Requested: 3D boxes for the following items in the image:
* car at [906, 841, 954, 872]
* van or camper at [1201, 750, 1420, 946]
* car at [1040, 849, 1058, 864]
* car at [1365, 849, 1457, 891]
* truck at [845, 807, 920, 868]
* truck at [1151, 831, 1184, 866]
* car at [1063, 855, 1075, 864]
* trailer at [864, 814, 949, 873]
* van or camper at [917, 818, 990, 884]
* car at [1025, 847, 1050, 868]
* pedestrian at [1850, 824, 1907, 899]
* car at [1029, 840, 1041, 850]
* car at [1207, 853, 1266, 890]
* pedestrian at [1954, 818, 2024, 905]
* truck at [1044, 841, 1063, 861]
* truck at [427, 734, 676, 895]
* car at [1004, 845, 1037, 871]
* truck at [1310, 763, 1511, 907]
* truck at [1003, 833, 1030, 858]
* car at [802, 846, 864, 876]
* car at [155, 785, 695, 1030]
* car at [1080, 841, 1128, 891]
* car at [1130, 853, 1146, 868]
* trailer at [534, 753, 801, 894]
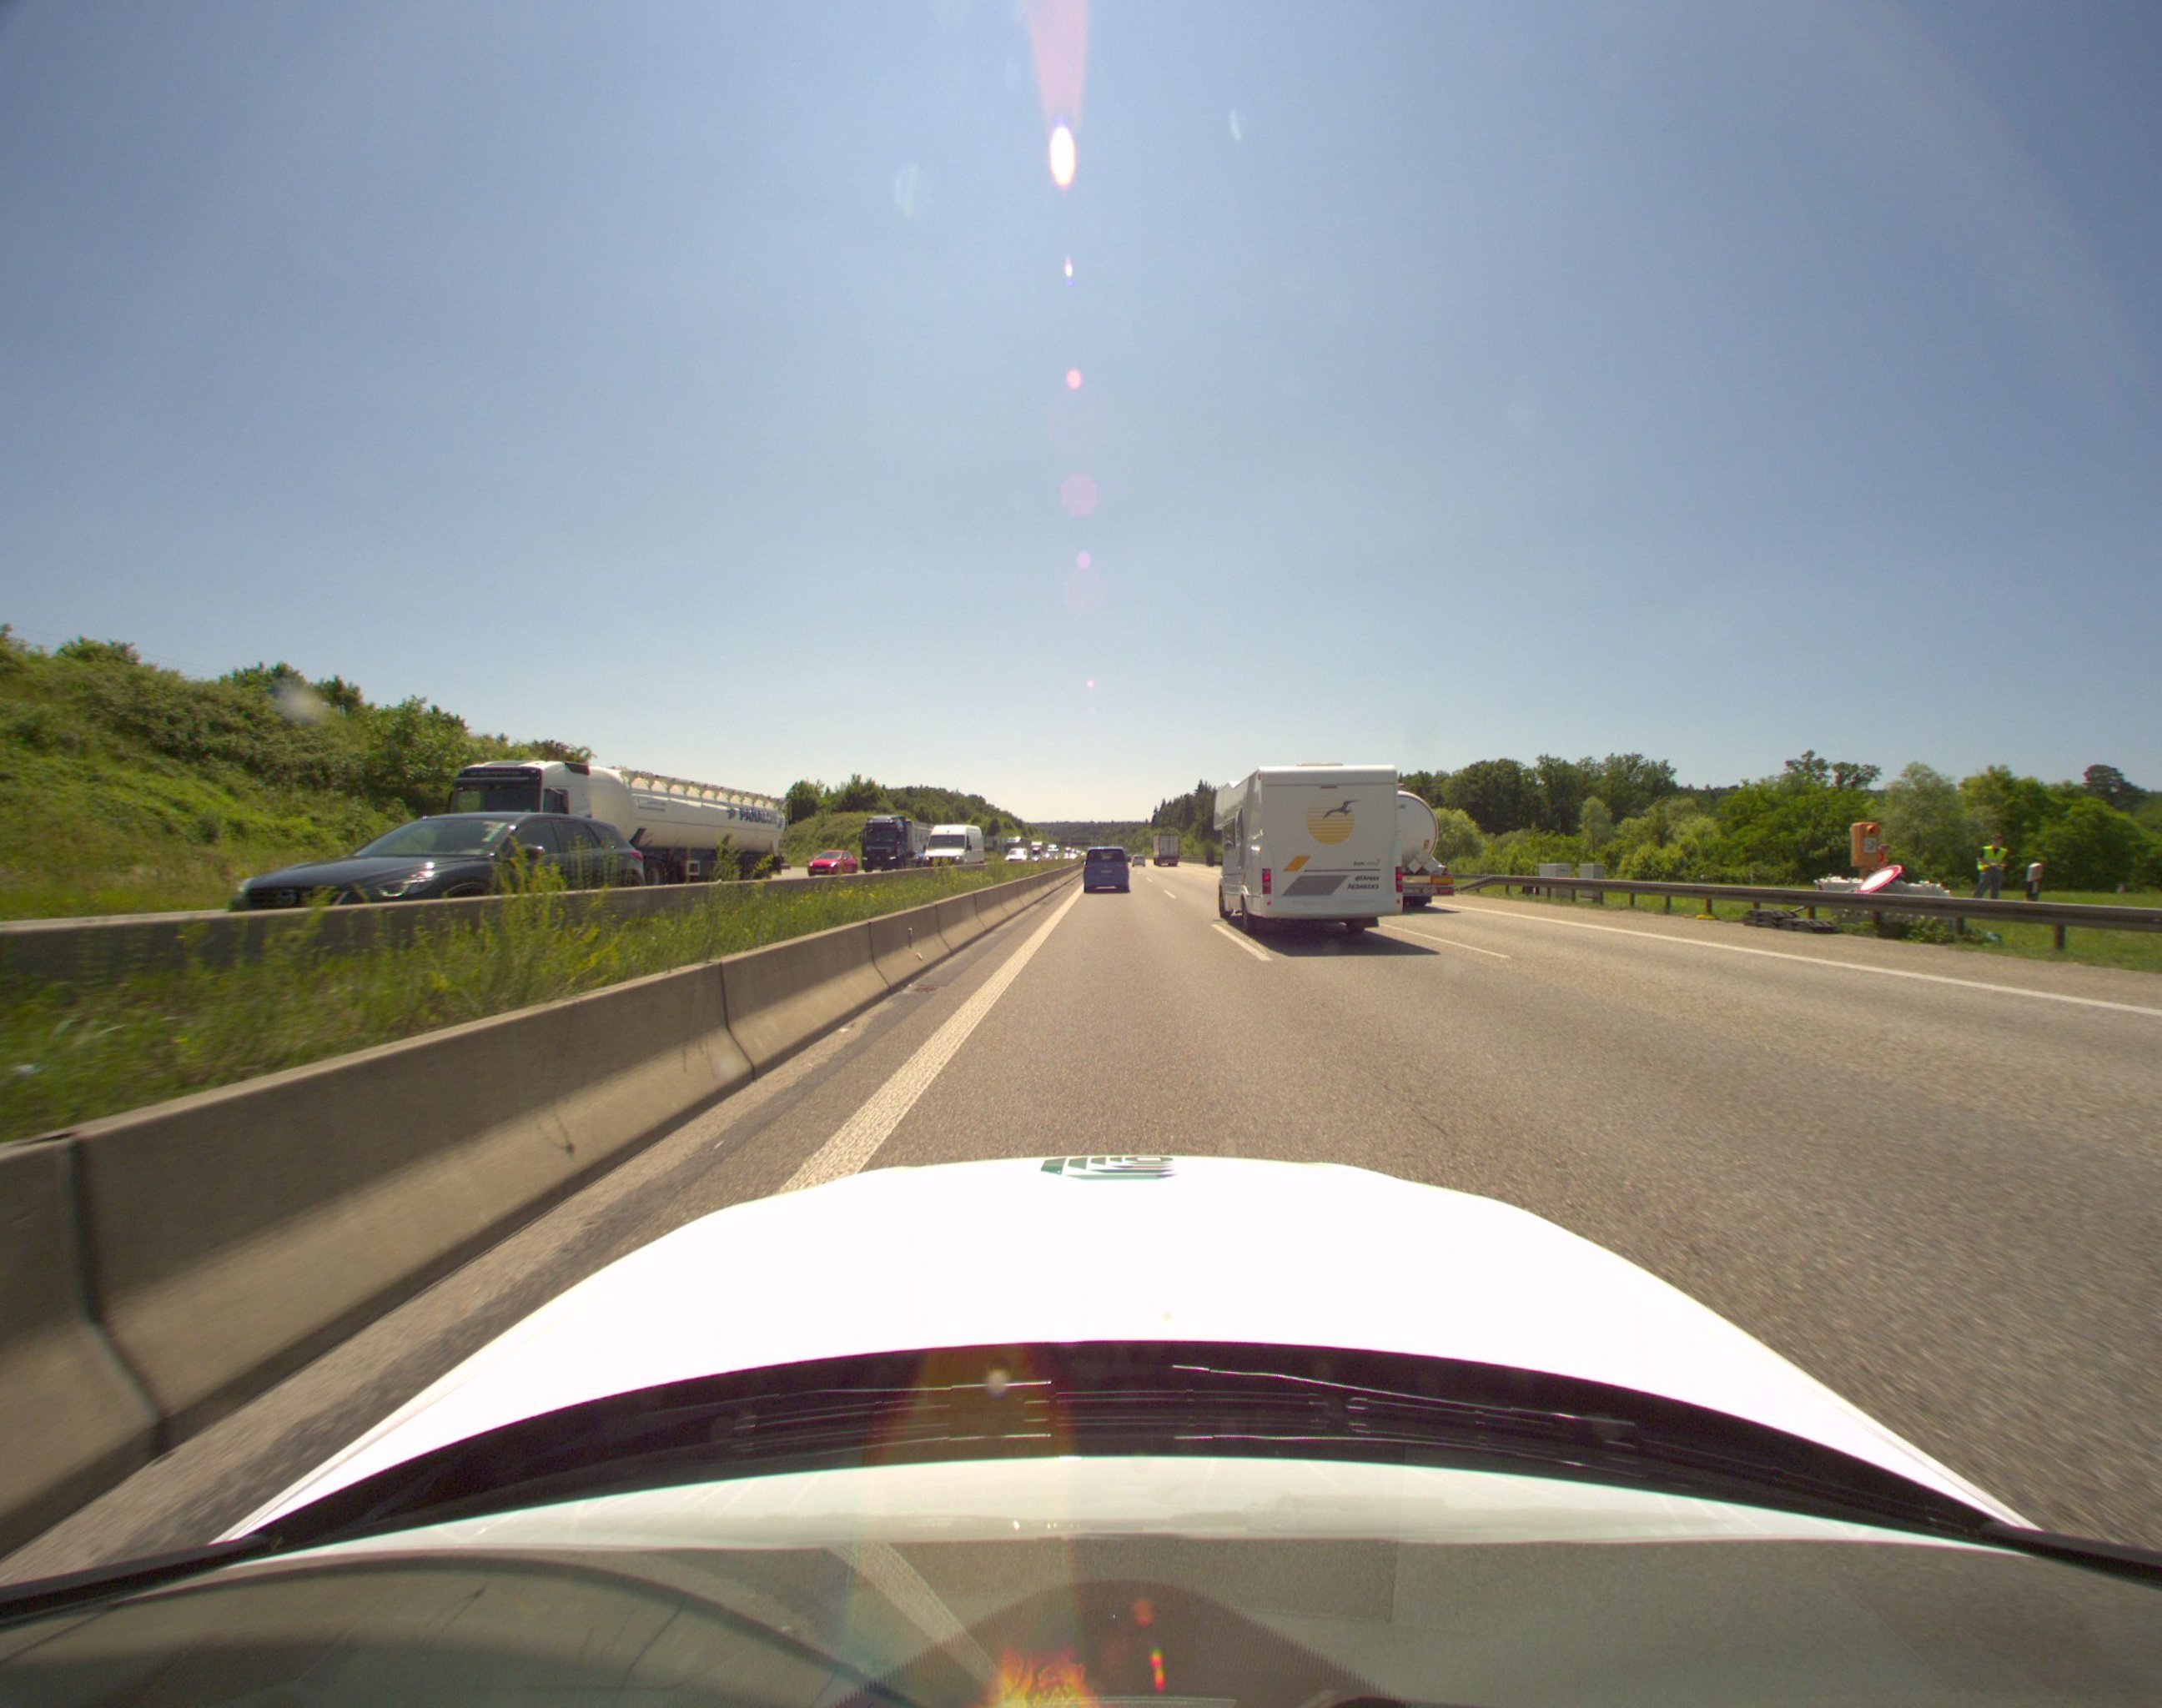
[{"bbox_3d":[-9.583,0.169,52.201,1.789,1.834,5.749,-1,0,2],"label":"car"},{"bbox_3d":[4.197,-0.085,16.629,2.593,3.078,7.185,-1,0,2],"label":"van or camper"},{"bbox_3d":[-3.953,0.293,99.899,1.781,1.753,4.002,3,0,2],"label":"car"},{"bbox_3d":[12.226,0.548,30.480,1.707,1.440,4.770,0,0,3],"label":"car"},{"bbox_3d":[-13.372,-1.030,55.429,3.441,3.877,5.449,1,-1,3],"label":"truck"},{"bbox_3d":[11.040,-0.723,105.203,3.474,4.170,8.646,3,0,2],"label":"truck"},{"bbox_3d":[-2.118,0.907,146.745,1.781,1.546,4.002,3,0,2],"label":"car"},{"bbox_3d":[-13.119,-0.800,62.542,3.564,4.093,11.544,0,0,2],"label":"trailer"},{"bbox_3d":[-6.177,-0.135,40.588,1.985,2.877,7.646,3,0,3],"label":"van or camper"},{"bbox_3d":[-4.327,0.358,81.892,1.985,2.013,5.167,3,0,3],"label":"car"},{"bbox_3d":[22.828,0.205,23.319,0.685,2.080,0.928,2,0,2],"label":"pedestrian"},{"bbox_3d":[-9.594,-1.833,170.383,2.077,2.063,5.062,3,0,2],"label":"car"},{"bbox_3d":[6.526,0.693,34.534,1.902,1.475,4.002,0,0,2],"label":"car"},{"bbox_3d":[22.505,0.188,20.192,0.689,2.080,0.923,3,0,-17],"label":"pedestrian"},{"bbox_3d":[-5.483,-0.526,165.469,2.981,3.803,12.166,3,0,1],"label":"truck"},{"bbox_3d":[-14.433,-0.941,22.943,2.682,3.878,6.320,-1,0,2],"label":"truck"},{"bbox_3d":[-4.933,0.318,67.035,1.985,2.013,5.167,3,0,3],"label":"car"},{"bbox_3d":[9.432,-0.448,24.653,2.916,3.575,8.531,-1,-1,2],"label":"truck"},{"bbox_3d":[-10.637,-1.351,135.145,2.981,3.803,12.166,3,0,1],"label":"truck"},{"bbox_3d":[-13.530,0.368,44.706,1.789,1.538,4.587,-1,0,2],"label":"car"},{"bbox_3d":[-6.979,0.470,9.697,2.077,2.063,5.062,3,0,2],"label":"car"},{"bbox_3d":[1.011,0.487,34.723,1.902,2.013,4.002,0,0,2],"label":"car"},{"bbox_3d":[7.195,0.849,103.662,1.811,1.794,3.896,3,0,2],"label":"car"},{"bbox_3d":[-14.224,-0.874,30.141,2.670,3.950,13.248,3,0,1],"label":"trailer"}]
